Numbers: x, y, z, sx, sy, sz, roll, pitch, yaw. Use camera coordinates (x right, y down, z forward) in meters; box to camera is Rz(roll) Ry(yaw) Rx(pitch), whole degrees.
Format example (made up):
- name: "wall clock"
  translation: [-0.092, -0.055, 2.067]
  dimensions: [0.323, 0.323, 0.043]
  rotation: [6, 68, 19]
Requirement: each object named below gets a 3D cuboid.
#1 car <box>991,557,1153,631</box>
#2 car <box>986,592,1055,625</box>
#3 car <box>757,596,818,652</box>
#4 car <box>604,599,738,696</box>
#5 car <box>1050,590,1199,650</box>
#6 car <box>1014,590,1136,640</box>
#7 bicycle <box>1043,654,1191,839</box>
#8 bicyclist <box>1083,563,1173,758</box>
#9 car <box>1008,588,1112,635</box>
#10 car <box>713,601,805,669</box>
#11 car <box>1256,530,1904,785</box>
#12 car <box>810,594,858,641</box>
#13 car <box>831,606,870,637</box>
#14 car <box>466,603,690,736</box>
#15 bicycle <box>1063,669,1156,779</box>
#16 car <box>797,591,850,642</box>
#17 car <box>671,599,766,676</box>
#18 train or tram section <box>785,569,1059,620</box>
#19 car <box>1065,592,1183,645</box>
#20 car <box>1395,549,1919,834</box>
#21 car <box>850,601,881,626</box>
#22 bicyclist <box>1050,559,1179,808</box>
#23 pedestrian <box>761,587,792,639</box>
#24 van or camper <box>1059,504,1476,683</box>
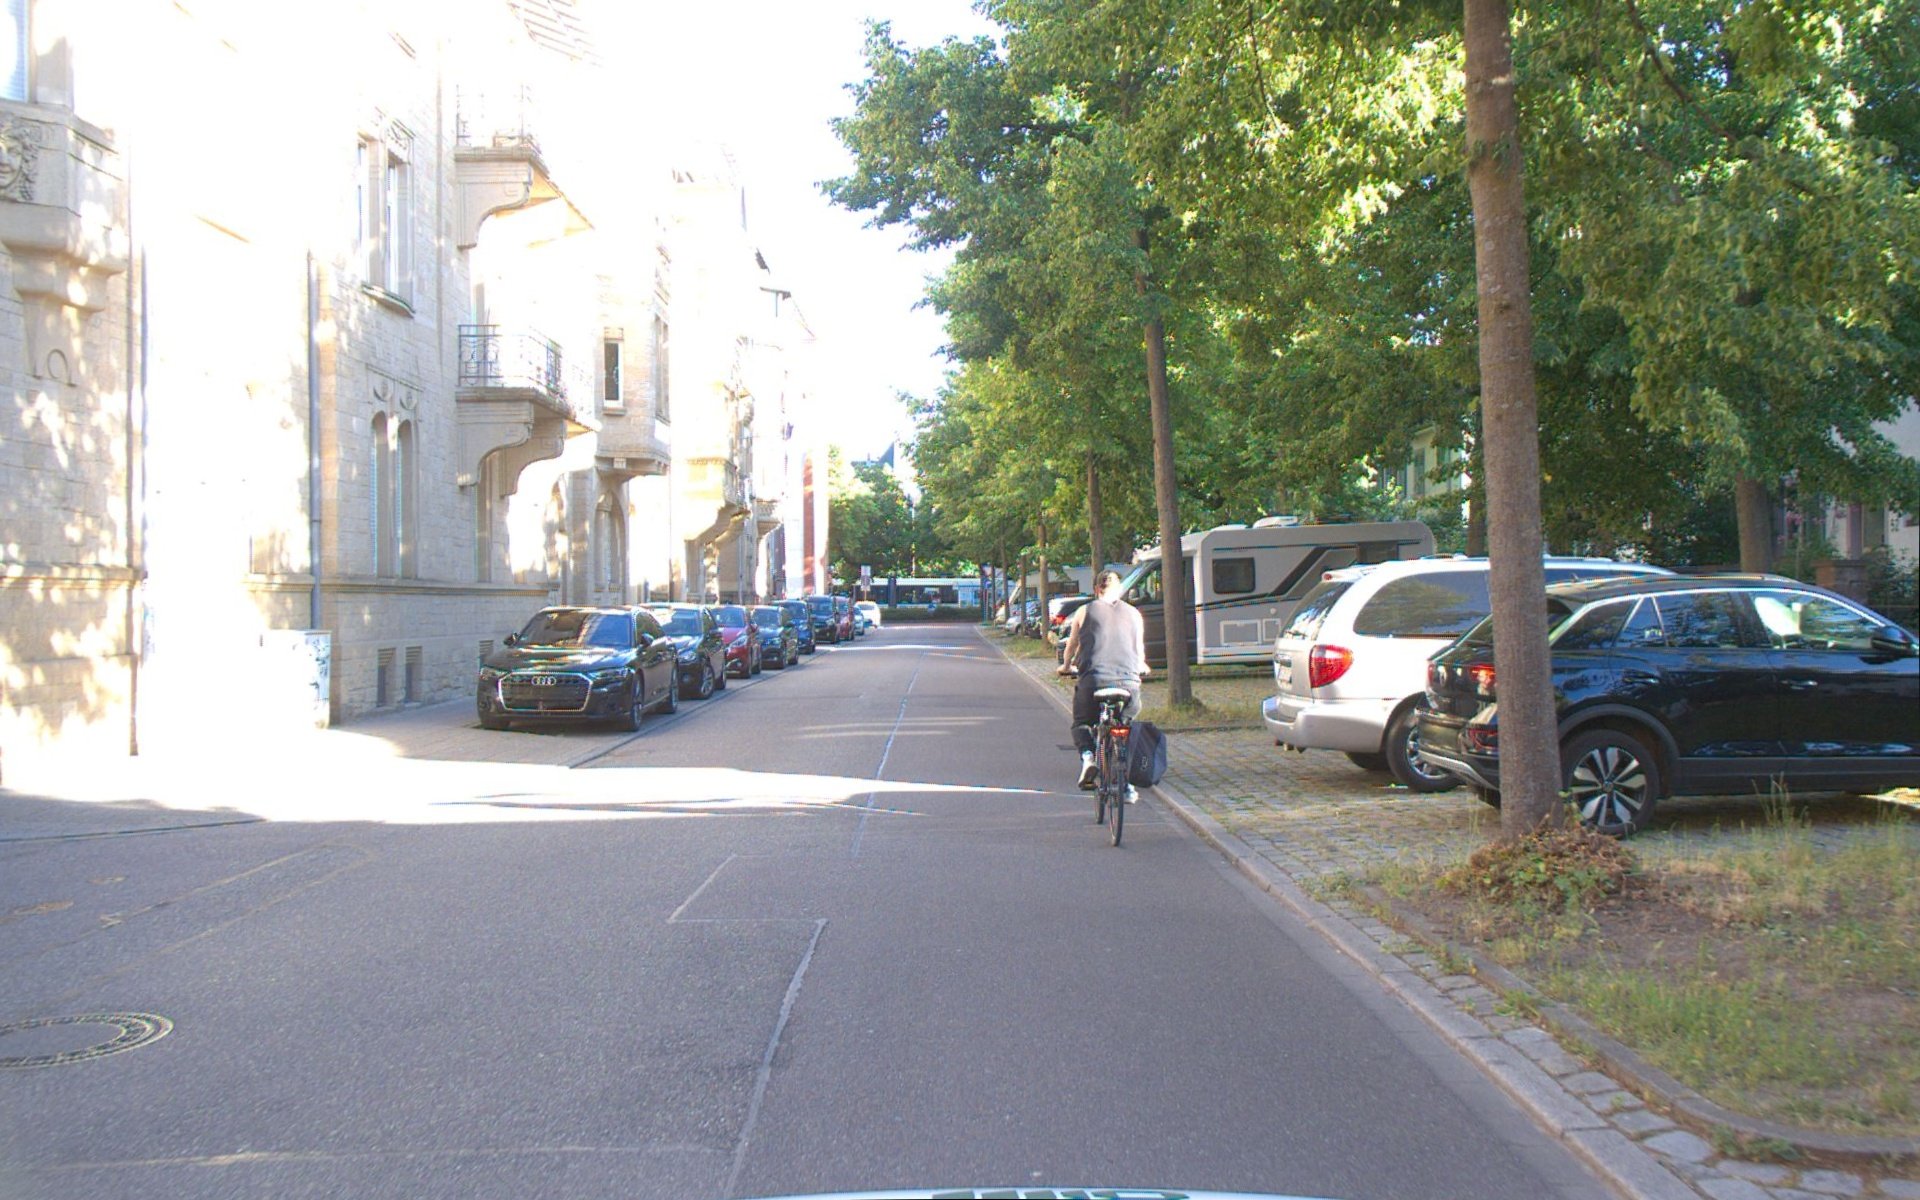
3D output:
- name: "car"
  translation: [5.038, -0.259, 75.010]
  dimensions: [7.005, 3.030, 2.463]
  rotation: [-2, 0, -4]
- name: "car"
  translation: [3.560, 0.489, 97.245]
  dimensions: [3.907, 1.835, 1.833]
  rotation: [1, -1, -3]
- name: "car"
  translation: [-5.150, 0.692, 49.580]
  dimensions: [1.564, 1.515, 2.735]
  rotation: [3, 0, -2]
- name: "car"
  translation: [-4.713, 0.758, 27.449]
  dimensions: [1.662, 1.479, 4.026]
  rotation: [0, -1, -2]
- name: "car"
  translation: [4.694, 0.581, 47.669]
  dimensions: [4.136, 1.628, 1.691]
  rotation: [-1, -2, 1]
- name: "car"
  translation: [3.896, 0.530, 56.621]
  dimensions: [4.053, 1.628, 1.702]
  rotation: [-1, -2, 1]
- name: "bicycle"
  translation: [1.005, 0.921, 11.011]
  dimensions: [0.722, 1.072, 1.955]
  rotation: [2, -1, -2]
- name: "bicyclist"
  translation: [1.466, 0.515, 14.571]
  dimensions: [0.675, 1.655, 0.998]
  rotation: [1, 0, 0]
- name: "car"
  translation: [4.070, 0.470, 67.526]
  dimensions: [4.001, 1.678, 1.640]
  rotation: [-3, 0, -3]
- name: "car"
  translation: [-4.843, 0.806, 40.380]
  dimensions: [1.641, 1.455, 4.550]
  rotation: [2, 0, 0]
- name: "car"
  translation: [4.847, 0.432, 13.420]
  dimensions: [4.524, 1.739, 1.833]
  rotation: [-2, 0, 1]
- name: "car"
  translation: [-5.260, 0.693, 69.643]
  dimensions: [1.654, 1.857, 4.272]
  rotation: [2, 0, 0]
- name: "car"
  translation: [-5.320, 1.038, 80.681]
  dimensions: [1.551, 1.367, 4.131]
  rotation: [2, 0, 0]
- name: "car"
  translation: [-4.760, 0.806, 21.334]
  dimensions: [1.774, 1.451, 4.897]
  rotation: [2, 0, -1]
- name: "bicycle"
  translation: [1.285, 1.057, 14.503]
  dimensions: [0.620, 0.813, 1.832]
  rotation: [-1, 0, -1]
- name: "car"
  translation: [-5.135, 0.582, 62.638]
  dimensions: [1.607, 1.814, 4.354]
  rotation: [2, 0, 0]
- name: "car"
  translation: [-4.996, 0.748, 34.590]
  dimensions: [1.596, 1.479, 3.835]
  rotation: [1, 0, -3]
- name: "train or tram section"
  translation: [-3.027, -0.357, 140.656]
  dimensions: [23.483, 3.773, 4.255]
  rotation: [1, -1, -23]
- name: "car"
  translation: [5.330, 0.613, 54.002]
  dimensions: [3.695, 1.628, 1.691]
  rotation: [-1, -2, 1]
- name: "car"
  translation: [5.069, 0.515, 10.744]
  dimensions: [3.985, 1.502, 1.694]
  rotation: [-4, 1, 0]
- name: "car"
  translation: [-5.581, 0.786, 97.814]
  dimensions: [1.551, 1.399, 4.131]
  rotation: [2, 0, 0]
- name: "bicyclist"
  translation: [1.016, 0.539, 11.038]
  dimensions: [0.715, 1.575, 0.884]
  rotation: [2, -1, -2]
- name: "pedestrian"
  translation: [-6.294, 0.443, 56.761]
  dimensions: [0.919, 1.773, 0.735]
  rotation: [1, -1, -1]
- name: "van or camper"
  translation: [5.426, -0.114, 30.059]
  dimensions: [7.000, 2.693, 2.465]
  rotation: [-4, 0, 1]
